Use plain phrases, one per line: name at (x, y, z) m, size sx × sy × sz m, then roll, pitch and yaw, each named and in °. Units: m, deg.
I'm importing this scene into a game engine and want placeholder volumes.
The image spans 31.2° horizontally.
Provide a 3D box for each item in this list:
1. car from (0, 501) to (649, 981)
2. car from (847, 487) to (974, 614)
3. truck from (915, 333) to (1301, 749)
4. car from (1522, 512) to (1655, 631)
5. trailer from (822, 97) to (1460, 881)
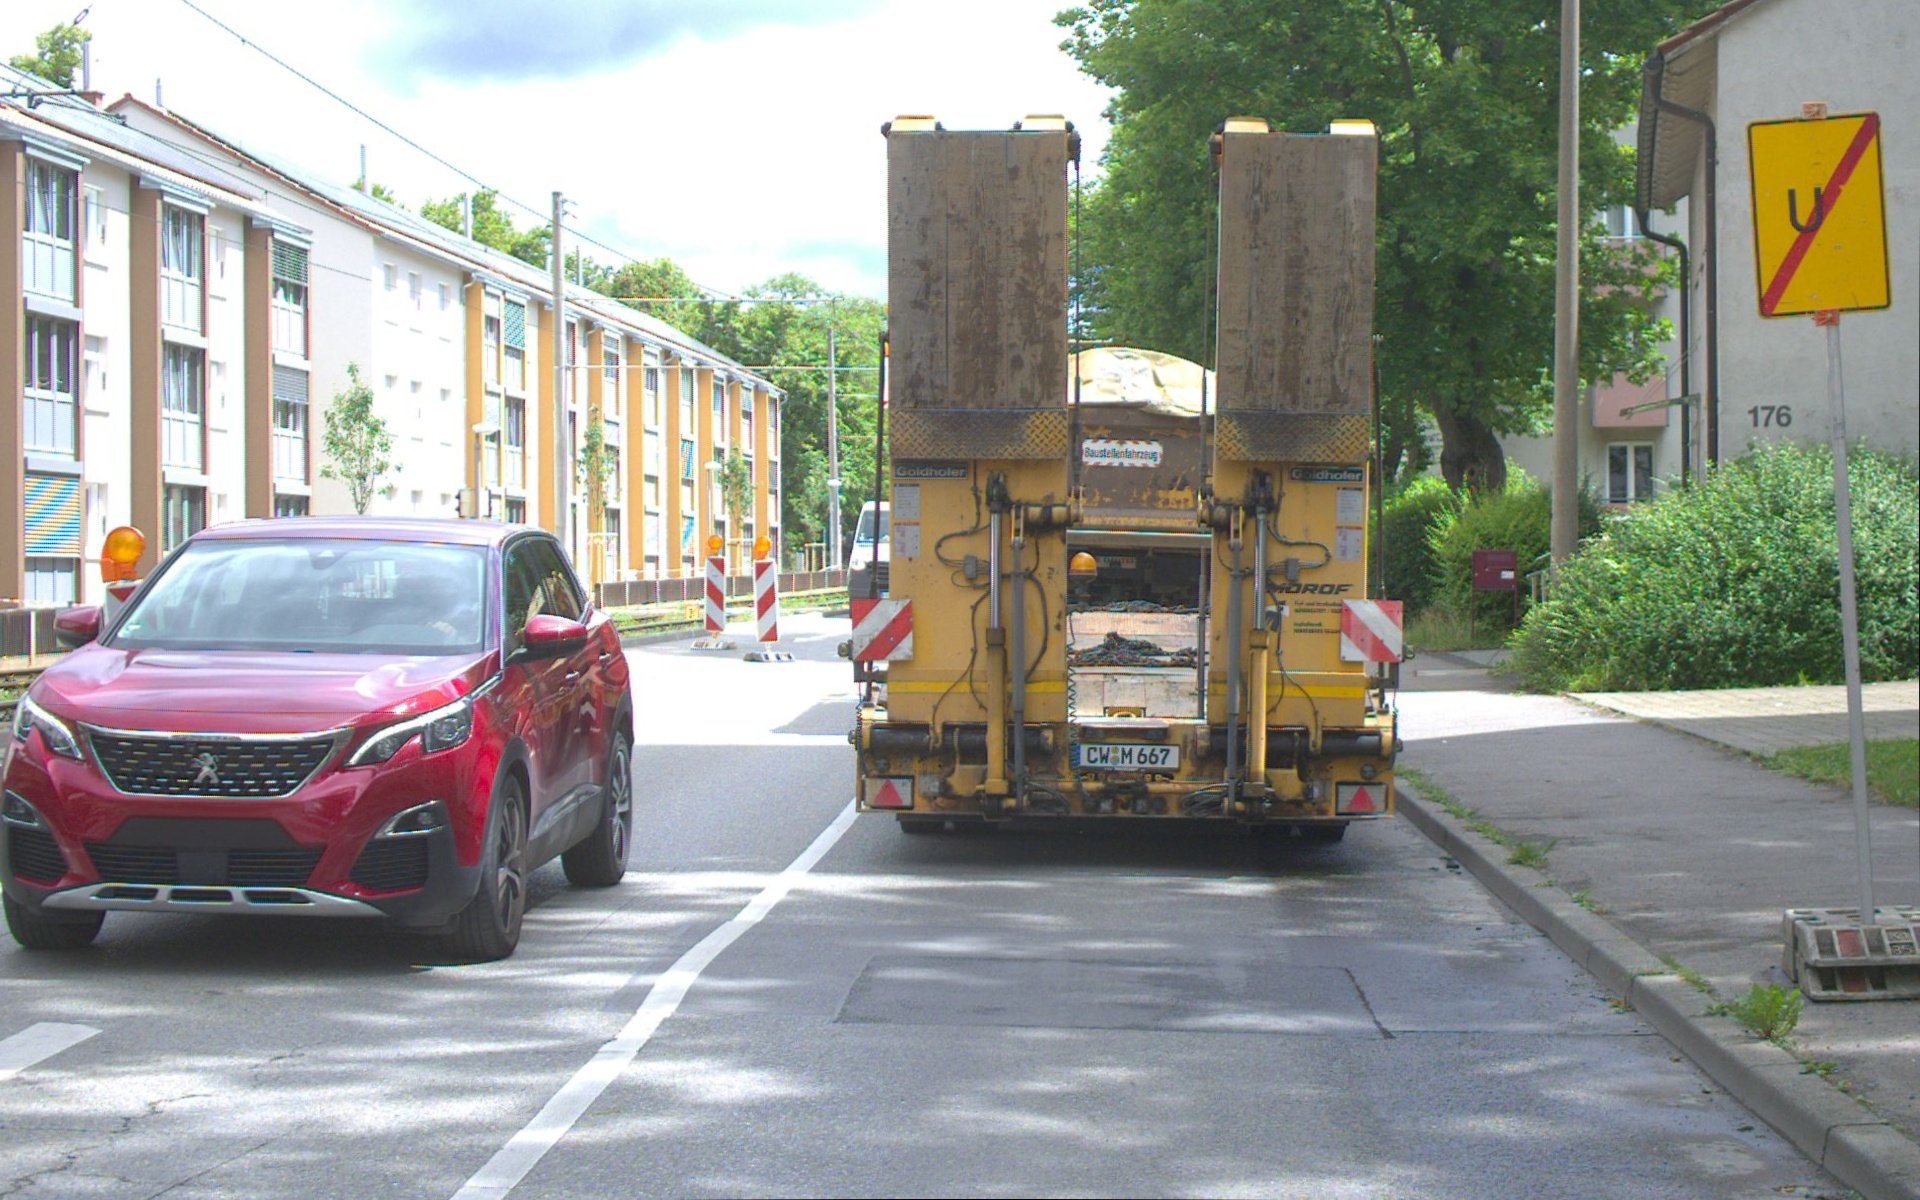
car at (-2.462, 0.440, 13.760) m, size 1.843 × 1.612 × 4.242 m, roll 0°, pitch 1°, yaw 3°
car at (-0.945, -1.009, 69.675) m, size 1.994 × 2.422 × 6.321 m, roll 1°, pitch 1°, yaw 4°
truck at (1.220, -0.523, 30.598) m, size 2.917 × 3.156 × 7.680 m, roll 2°, pitch 1°, yaw 1°
car at (9.193, -0.415, 50.124) m, size 1.812 × 1.644 × 3.998 m, roll -1°, pitch 0°, yaw 11°
trailer at (0.955, -0.595, 21.280) m, size 2.823 × 3.512 × 11.052 m, roll 2°, pitch 1°, yaw 1°
